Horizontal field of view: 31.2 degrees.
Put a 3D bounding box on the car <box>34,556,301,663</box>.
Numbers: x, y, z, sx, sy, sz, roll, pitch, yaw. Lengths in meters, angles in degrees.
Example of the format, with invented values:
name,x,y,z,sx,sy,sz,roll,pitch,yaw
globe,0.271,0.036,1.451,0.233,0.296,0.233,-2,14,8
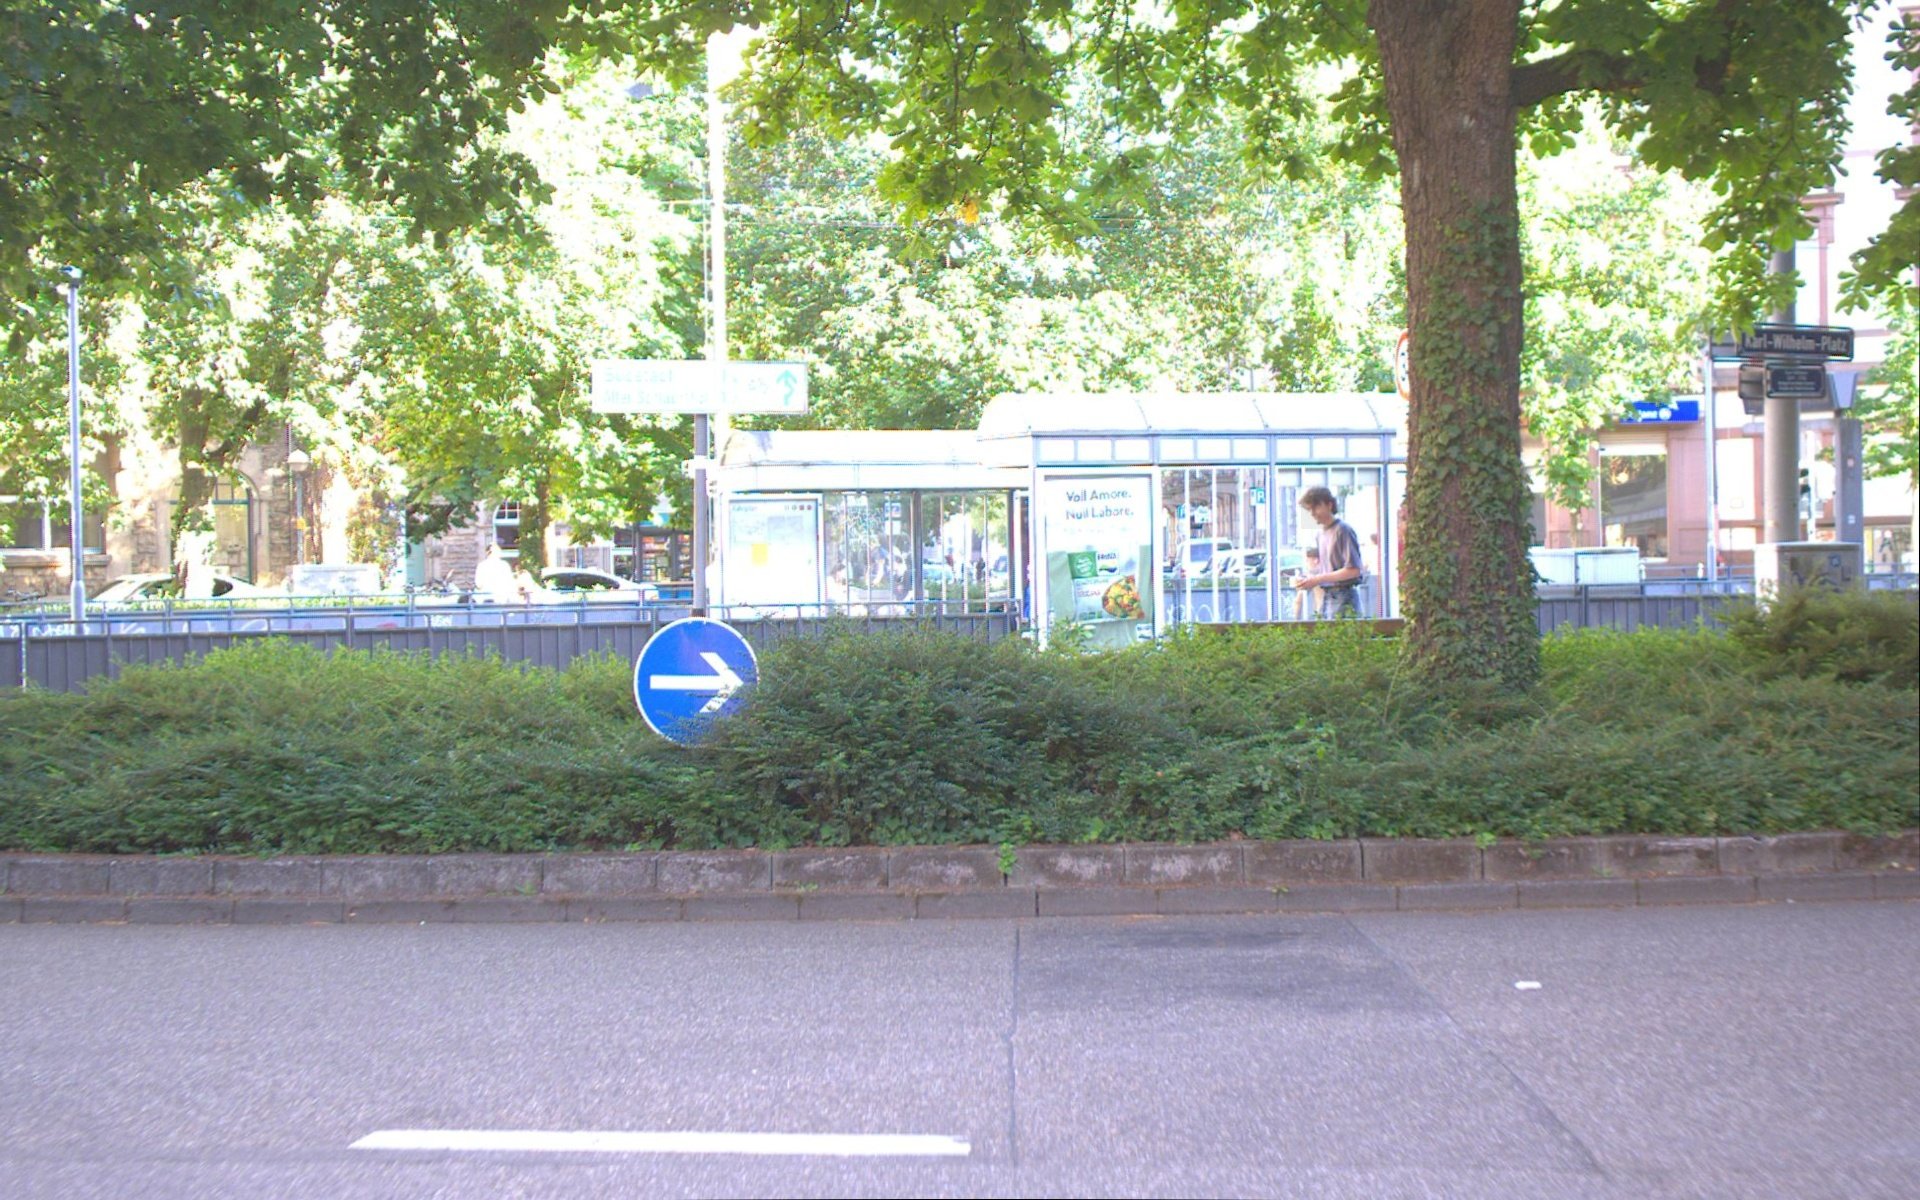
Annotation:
name,x,y,z,sx,sy,sz,roll,pitch,yaw
car,-13.390,0.133,58.189,3.938,1.673,1.953,-2,1,-44

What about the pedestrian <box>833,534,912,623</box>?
name,x,y,z,sx,sy,sz,roll,pitch,yaw
pedestrian,-1.618,-0.403,63.619,1.061,1.625,1.003,-2,1,-37

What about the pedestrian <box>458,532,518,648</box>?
name,x,y,z,sx,sy,sz,roll,pitch,yaw
pedestrian,-6.952,-0.148,50.601,0.701,1.689,0.671,1,1,-22

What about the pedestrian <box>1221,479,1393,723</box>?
name,x,y,z,sx,sy,sz,roll,pitch,yaw
pedestrian,2.450,0.001,24.217,0.898,1.678,0.818,-1,1,34

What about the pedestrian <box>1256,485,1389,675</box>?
name,x,y,z,sx,sy,sz,roll,pitch,yaw
pedestrian,3.688,-0.213,35.046,1.016,1.891,0.912,-1,1,-22

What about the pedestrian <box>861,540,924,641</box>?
name,x,y,z,sx,sy,sz,roll,pitch,yaw
pedestrian,-1.049,-0.152,53.155,0.809,1.538,0.821,1,1,-11

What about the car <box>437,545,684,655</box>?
name,x,y,z,sx,sy,sz,roll,pitch,yaw
car,-7.238,-0.028,62.331,3.986,1.864,2.000,-2,1,-26
